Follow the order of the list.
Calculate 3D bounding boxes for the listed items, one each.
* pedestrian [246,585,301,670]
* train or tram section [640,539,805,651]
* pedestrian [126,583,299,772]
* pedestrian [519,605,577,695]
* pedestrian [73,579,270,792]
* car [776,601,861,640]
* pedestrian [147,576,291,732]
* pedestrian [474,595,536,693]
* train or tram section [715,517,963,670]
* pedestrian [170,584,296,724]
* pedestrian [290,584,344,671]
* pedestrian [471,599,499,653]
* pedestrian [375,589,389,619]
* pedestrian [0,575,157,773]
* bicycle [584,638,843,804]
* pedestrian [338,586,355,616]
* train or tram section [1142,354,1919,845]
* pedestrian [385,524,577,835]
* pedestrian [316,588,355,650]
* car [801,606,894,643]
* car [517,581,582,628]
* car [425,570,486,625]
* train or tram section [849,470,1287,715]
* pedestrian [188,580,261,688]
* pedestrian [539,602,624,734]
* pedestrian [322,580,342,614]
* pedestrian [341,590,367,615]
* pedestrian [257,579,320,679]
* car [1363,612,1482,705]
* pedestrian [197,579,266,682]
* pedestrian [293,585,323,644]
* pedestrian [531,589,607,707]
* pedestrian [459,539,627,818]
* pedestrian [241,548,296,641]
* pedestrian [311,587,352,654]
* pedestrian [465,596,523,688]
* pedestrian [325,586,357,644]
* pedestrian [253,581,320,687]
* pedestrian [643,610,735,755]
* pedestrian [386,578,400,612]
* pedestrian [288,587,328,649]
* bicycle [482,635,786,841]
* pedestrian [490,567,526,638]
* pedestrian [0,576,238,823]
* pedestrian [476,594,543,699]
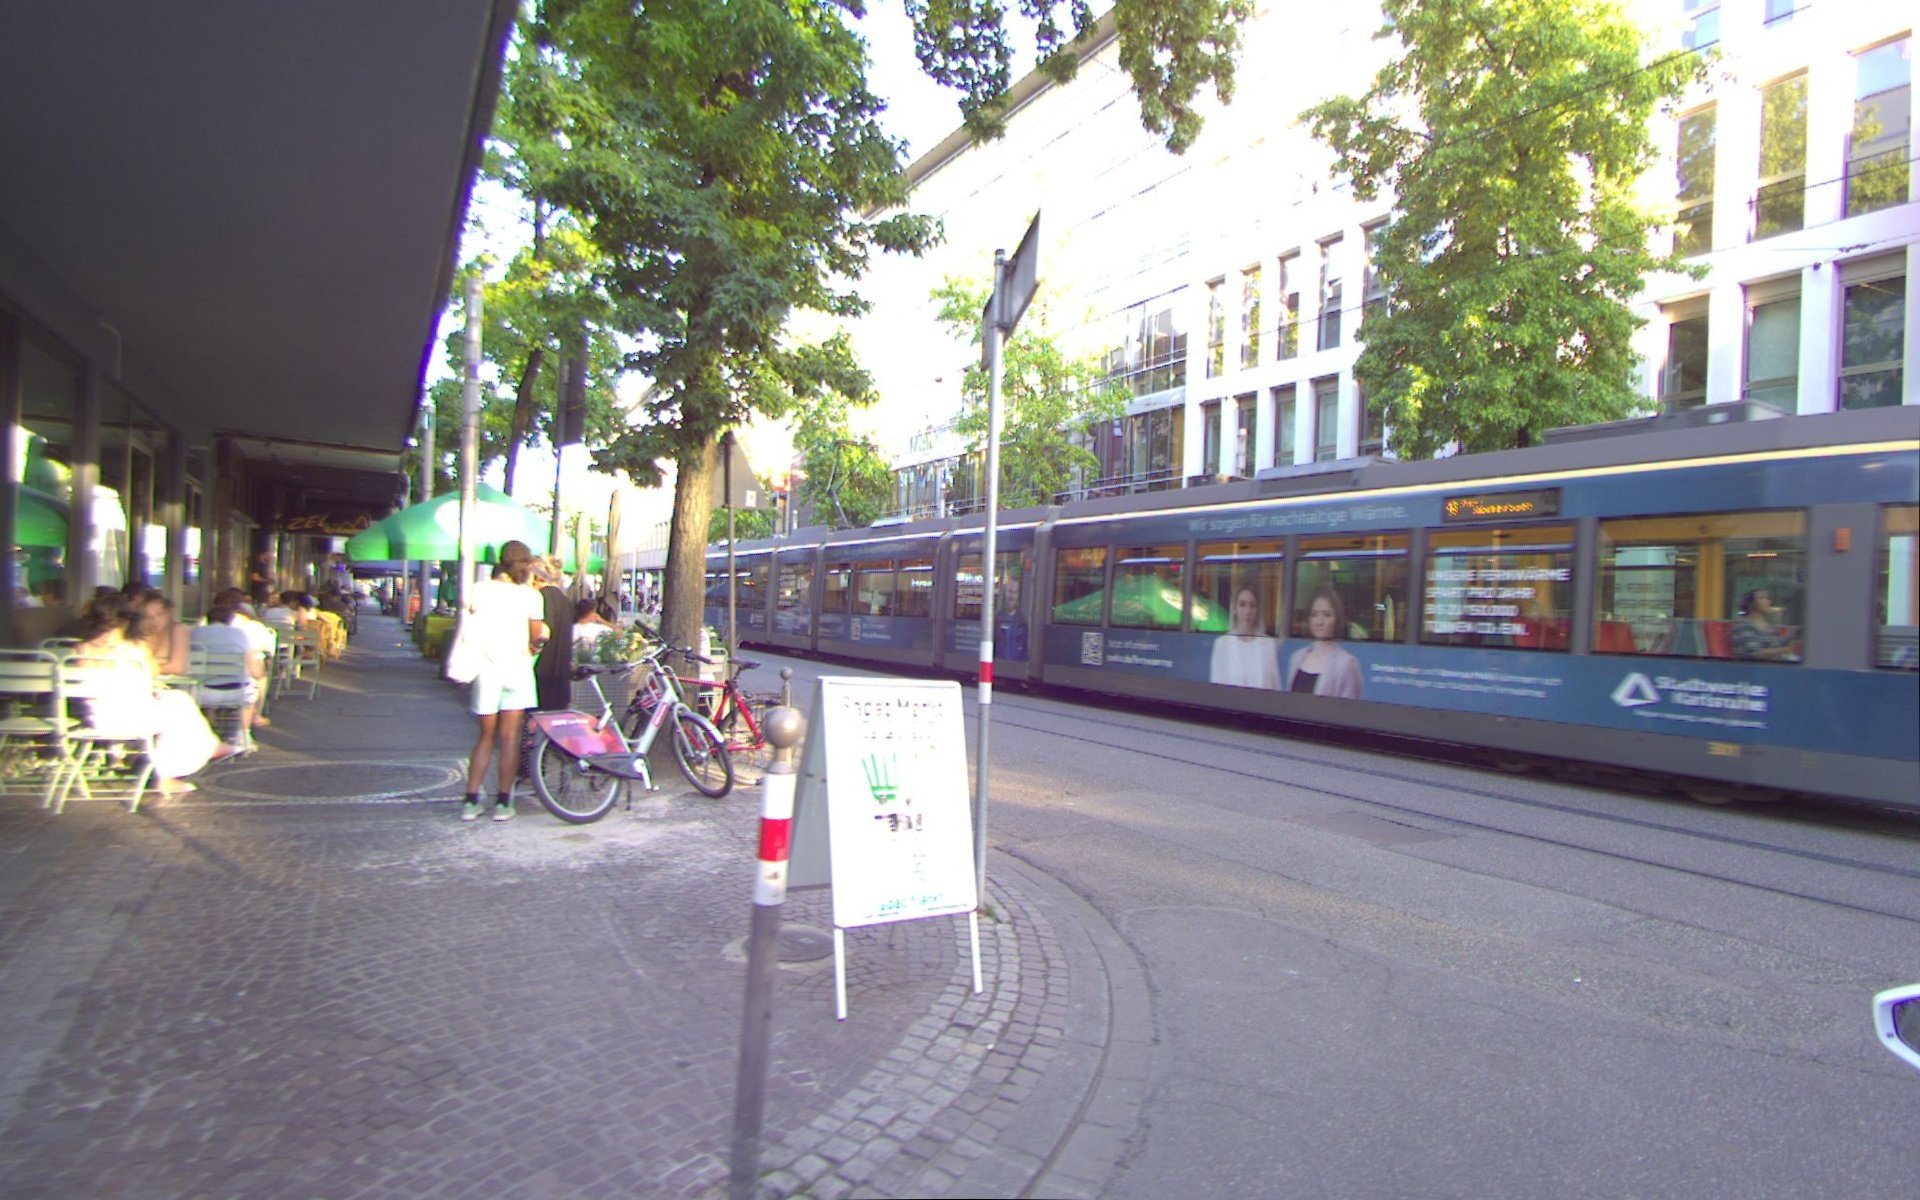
[{"bbox_3d":[-11.657,0.471,17.071,0.649,1.396,0.759,3,-2,-30],"label":"pedestrian"},{"bbox_3d":[-9.332,-0.148,38.169,3.020,3.570,10.444,4,-2,-30],"label":"train or tram section"},{"bbox_3d":[-5.689,0.575,7.718,0.877,1.337,0.875,3,-2,-28],"label":"pedestrian"},{"bbox_3d":[-6.596,0.783,16.059,0.709,1.380,1.004,3,-1,-29],"label":"pedestrian"},{"bbox_3d":[-5.340,0.559,6.874,0.839,1.337,0.875,3,-2,-27],"label":"pedestrian"},{"bbox_3d":[-6.578,0.914,47.086,1.885,1.660,4.201,1,1,27],"label":"car"},{"bbox_3d":[-6.771,0.490,9.243,0.877,1.337,0.875,3,-2,-28],"label":"pedestrian"},{"bbox_3d":[-6.734,0.642,14.850,0.709,1.380,0.917,3,-1,-29],"label":"pedestrian"},{"bbox_3d":[-3.977,-0.130,29.004,2.979,3.570,10.755,3,-1,-30],"label":"train or tram section"},{"bbox_3d":[-7.327,0.537,10.176,0.839,1.337,0.875,3,-2,-27],"label":"pedestrian"},{"bbox_3d":[-10.634,0.454,16.636,0.649,1.396,0.759,3,-2,-30],"label":"pedestrian"},{"bbox_3d":[-12.677,0.697,26.813,0.575,1.396,0.560,3,-2,-30],"label":"pedestrian"},{"bbox_3d":[-28.774,0.211,49.993,0.505,1.452,0.607,4,-2,-28],"label":"pedestrian"},{"bbox_3d":[-6.350,0.515,7.277,0.616,1.337,0.836,3,-2,-27],"label":"pedestrian"},{"bbox_3d":[-1.907,0.913,7.903,1.847,1.154,0.621,3,-2,-34],"label":"bicycle"},{"bbox_3d":[-26.730,0.032,43.783,0.507,1.258,0.655,6,-3,-31],"label":"pedestrian"},{"bbox_3d":[6.574,0.037,10.968,2.992,3.570,10.285,2,-1,-30],"label":"train or tram section"},{"bbox_3d":[-2.939,0.460,6.201,0.630,1.764,0.780,1,-2,28],"label":"pedestrian"},{"bbox_3d":[-13.916,0.429,22.400,0.649,1.348,0.759,3,-2,-30],"label":"pedestrian"},{"bbox_3d":[-4.984,1.036,44.917,1.834,1.477,4.169,0,1,36],"label":"car"},{"bbox_3d":[-19.057,0.208,46.518,1.978,2.003,4.808,3,-1,-31],"label":"car"},{"bbox_3d":[-19.022,-0.071,37.803,1.778,1.841,4.481,4,-2,-29],"label":"car"},{"bbox_3d":[1.335,-0.065,19.889,2.983,3.570,10.316,3,-1,-30],"label":"train or tram section"},{"bbox_3d":[-9.805,0.452,13.417,0.649,1.396,0.759,3,-2,-30],"label":"pedestrian"},{"bbox_3d":[-4.187,0.732,11.095,0.709,1.380,0.917,3,-1,-29],"label":"pedestrian"},{"bbox_3d":[-28.054,-0.129,44.861,0.604,1.452,0.508,6,-3,-28],"label":"pedestrian"},{"bbox_3d":[-28.542,0.120,47.320,0.812,1.134,0.774,5,-3,-21],"label":"pedestrian"},{"bbox_3d":[-9.716,0.424,14.551,0.649,1.396,0.759,3,-2,-30],"label":"pedestrian"},{"bbox_3d":[9.062,1.027,19.506,1.764,1.521,4.060,0,0,30],"label":"car"},{"bbox_3d":[-10.294,0.432,14.214,0.649,1.396,0.759,3,-2,-30],"label":"pedestrian"},{"bbox_3d":[-15.865,0.348,24.456,0.533,1.396,0.673,3,-2,-30],"label":"pedestrian"},{"bbox_3d":[-4.805,0.581,12.314,0.709,1.380,0.865,3,-1,-29],"label":"pedestrian"},{"bbox_3d":[-2.821,0.506,6.856,0.629,1.764,0.782,2,-1,17],"label":"pedestrian"},{"bbox_3d":[-13.699,-0.104,19.890,0.754,1.789,0.653,1,-2,41],"label":"pedestrian"},{"bbox_3d":[-13.485,0.439,21.563,0.649,1.396,0.759,3,-2,-30],"label":"pedestrian"},{"bbox_3d":[-7.282,0.644,15.672,0.709,1.380,1.004,3,-1,-29],"label":"pedestrian"},{"bbox_3d":[-15.243,0.370,24.739,0.600,1.396,0.643,3,-2,-30],"label":"pedestrian"},{"bbox_3d":[-9.209,0.459,13.755,0.649,1.396,0.759,3,-2,-30],"label":"pedestrian"},{"bbox_3d":[-2.750,0.812,10.174,0.687,1.395,0.786,3,-1,-29],"label":"pedestrian"},{"bbox_3d":[-28.742,-0.242,50.930,0.505,1.683,0.607,4,-2,-28],"label":"pedestrian"},{"bbox_3d":[-15.130,0.413,23.315,0.684,1.396,0.759,3,-2,-30],"label":"pedestrian"},{"bbox_3d":[-2.100,0.840,6.760,0.767,1.154,1.863,1,-2,31],"label":"bicycle"},{"bbox_3d":[-9.202,0.054,20.448,0.543,1.396,0.560,3,-2,-30],"label":"pedestrian"},{"bbox_3d":[-4.987,0.561,6.035,0.877,1.337,0.875,3,-2,-28],"label":"pedestrian"},{"bbox_3d":[-6.206,0.632,13.821,0.709,1.380,1.004,3,-1,-29],"label":"pedestrian"}]
